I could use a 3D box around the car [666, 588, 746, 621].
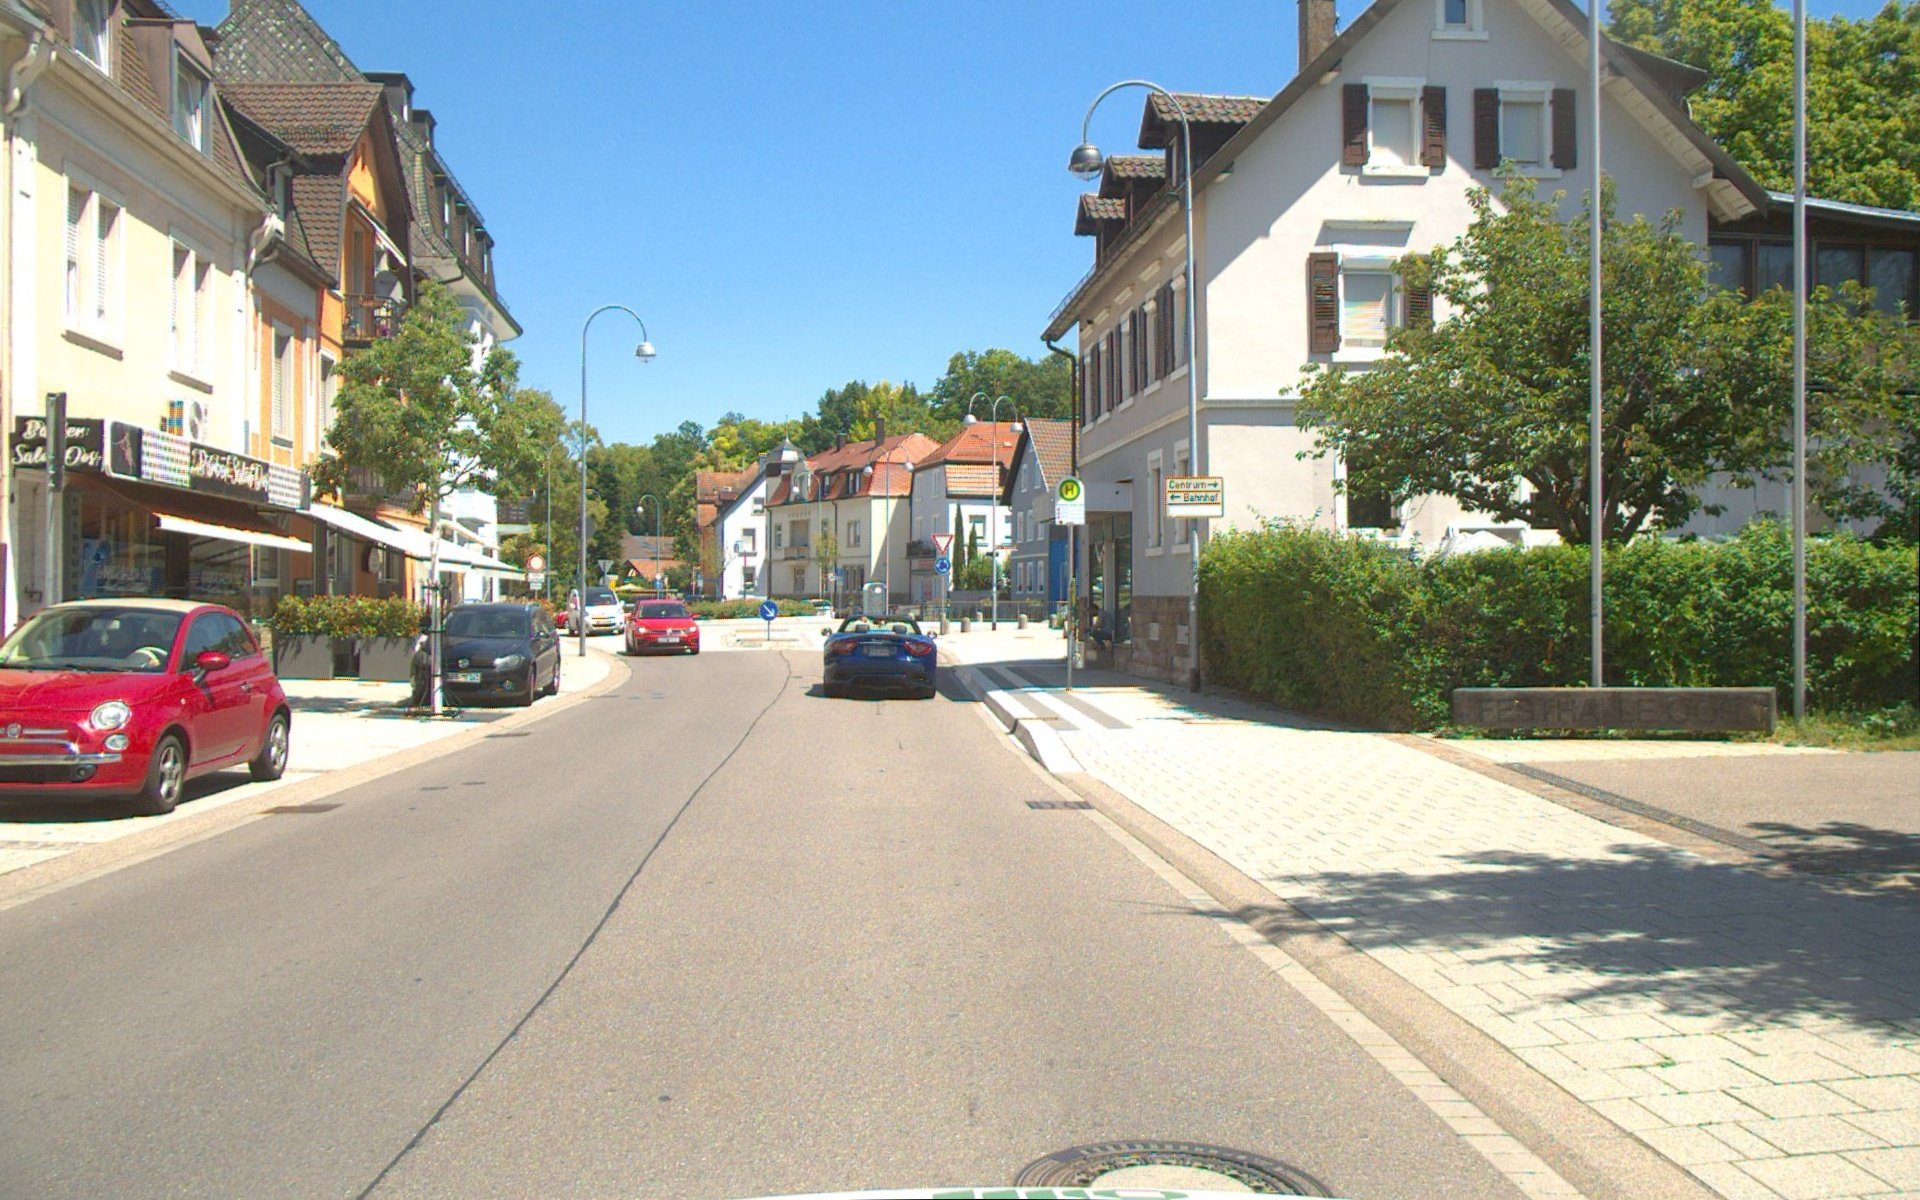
[{"bbox_3d":[-10.970,0.223,71.299,1.974,1.353,4.155,-1,0,-31],"label":"car"}]

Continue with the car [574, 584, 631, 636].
[{"bbox_3d":[-13.680,0.374,63.143,1.960,1.854,4.399,-1,0,-14],"label":"car"}]

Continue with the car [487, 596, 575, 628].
[{"bbox_3d":[-19.670,0.547,75.803,3.692,1.355,1.802,-2,0,-22],"label":"car"}]

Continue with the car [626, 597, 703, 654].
[{"bbox_3d":[-8.071,0.672,45.392,1.879,1.451,3.973,-2,0,-8],"label":"car"}]

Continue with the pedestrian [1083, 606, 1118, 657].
[{"bbox_3d":[2.860,0.631,33.779,0.578,1.017,0.723,-1,0,-6],"label":"pedestrian"}]

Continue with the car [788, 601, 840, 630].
[{"bbox_3d":[-8.888,0.948,100.528,1.893,1.641,4.116,0,-1,-24],"label":"car"}]

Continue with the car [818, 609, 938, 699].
[{"bbox_3d":[-1.417,0.876,28.363,1.872,1.384,4.282,1,0,-3],"label":"car"}]

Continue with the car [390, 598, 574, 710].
[{"bbox_3d":[-7.287,0.767,25.648,1.878,1.507,4.332,3,0,-5],"label":"car"}]

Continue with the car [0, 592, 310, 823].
[{"bbox_3d":[-6.388,0.750,12.850,1.529,1.547,3.511,1,-1,-5],"label":"car"}]

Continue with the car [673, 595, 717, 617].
[{"bbox_3d":[-20.336,0.481,126.785,1.834,1.616,3.951,-1,0,-35],"label":"car"}]

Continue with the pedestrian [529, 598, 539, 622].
[{"bbox_3d":[-28.290,0.678,109.841,0.523,1.603,0.563,-1,0,6],"label":"pedestrian"}]
